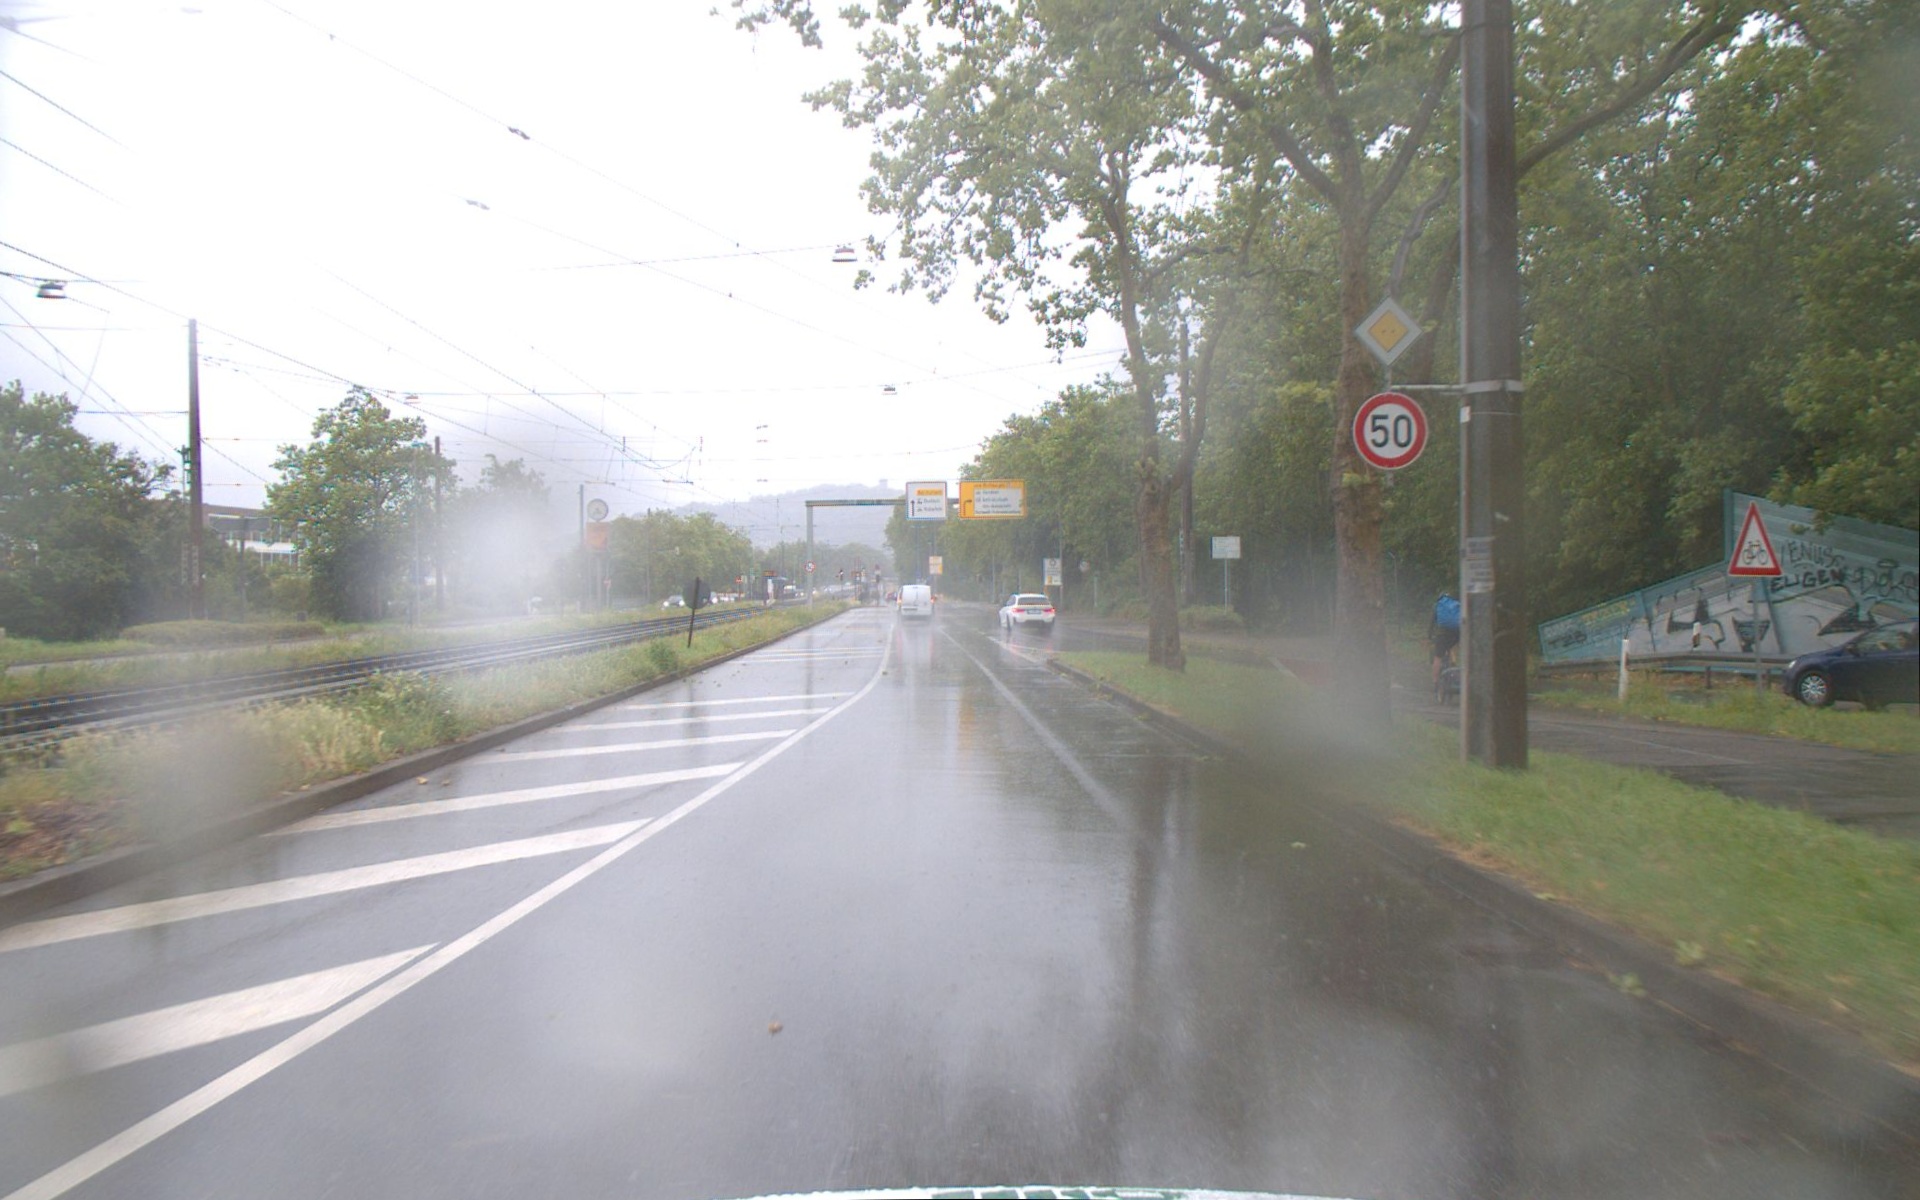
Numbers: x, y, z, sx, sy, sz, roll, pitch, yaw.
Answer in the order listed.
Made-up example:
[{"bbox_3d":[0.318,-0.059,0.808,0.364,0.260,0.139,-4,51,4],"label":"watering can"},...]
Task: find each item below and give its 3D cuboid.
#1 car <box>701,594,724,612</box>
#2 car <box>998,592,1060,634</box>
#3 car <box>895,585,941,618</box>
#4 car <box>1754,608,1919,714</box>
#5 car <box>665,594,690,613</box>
[{"bbox_3d":[-22.824,0.256,152.705,1.906,1.644,4.982,-1,0,-6],"label":"car"},{"bbox_3d":[2.602,0.475,63.187,1.909,1.563,4.464,0,0,-3],"label":"car"},{"bbox_3d":[-1.965,0.082,76.801,2.036,1.445,3.998,-2,0,-2],"label":"car"},{"bbox_3d":[14.897,0.915,25.659,1.842,1.563,4.475,0,0,-28],"label":"car"},{"bbox_3d":[-26.204,0.347,153.729,1.905,1.716,4.775,-1,0,-5],"label":"car"}]
